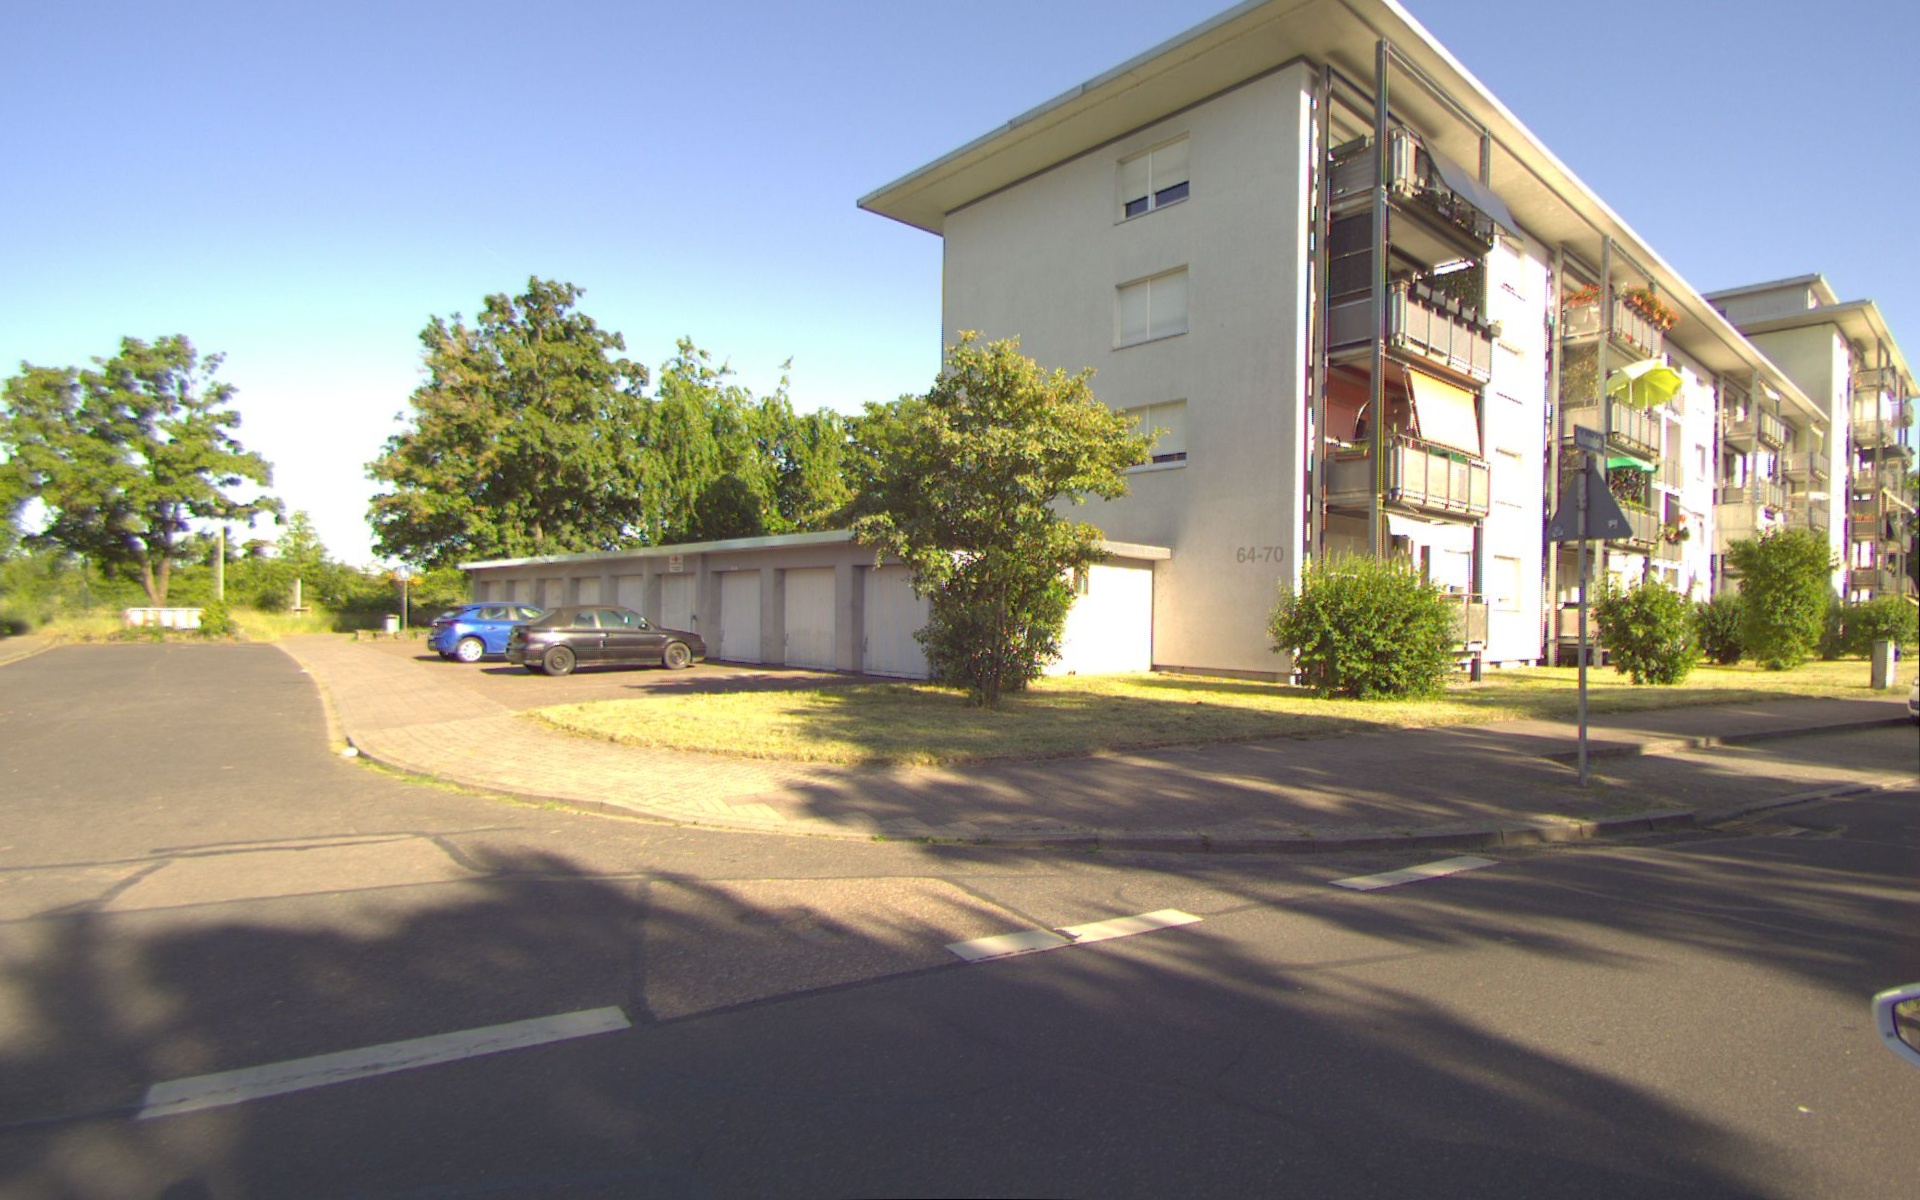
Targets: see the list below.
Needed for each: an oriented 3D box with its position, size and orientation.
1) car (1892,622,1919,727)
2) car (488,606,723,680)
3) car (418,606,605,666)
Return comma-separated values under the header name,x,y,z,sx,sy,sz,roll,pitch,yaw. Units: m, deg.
name,x,y,z,sx,sy,sz,roll,pitch,yaw
car,15.827,1.098,14.899,4.277,1.486,1.640,1,0,-28
car,-7.453,0.838,21.331,4.329,1.375,1.937,0,0,-39
car,-11.341,0.893,25.533,4.002,1.406,1.824,1,-2,-43
